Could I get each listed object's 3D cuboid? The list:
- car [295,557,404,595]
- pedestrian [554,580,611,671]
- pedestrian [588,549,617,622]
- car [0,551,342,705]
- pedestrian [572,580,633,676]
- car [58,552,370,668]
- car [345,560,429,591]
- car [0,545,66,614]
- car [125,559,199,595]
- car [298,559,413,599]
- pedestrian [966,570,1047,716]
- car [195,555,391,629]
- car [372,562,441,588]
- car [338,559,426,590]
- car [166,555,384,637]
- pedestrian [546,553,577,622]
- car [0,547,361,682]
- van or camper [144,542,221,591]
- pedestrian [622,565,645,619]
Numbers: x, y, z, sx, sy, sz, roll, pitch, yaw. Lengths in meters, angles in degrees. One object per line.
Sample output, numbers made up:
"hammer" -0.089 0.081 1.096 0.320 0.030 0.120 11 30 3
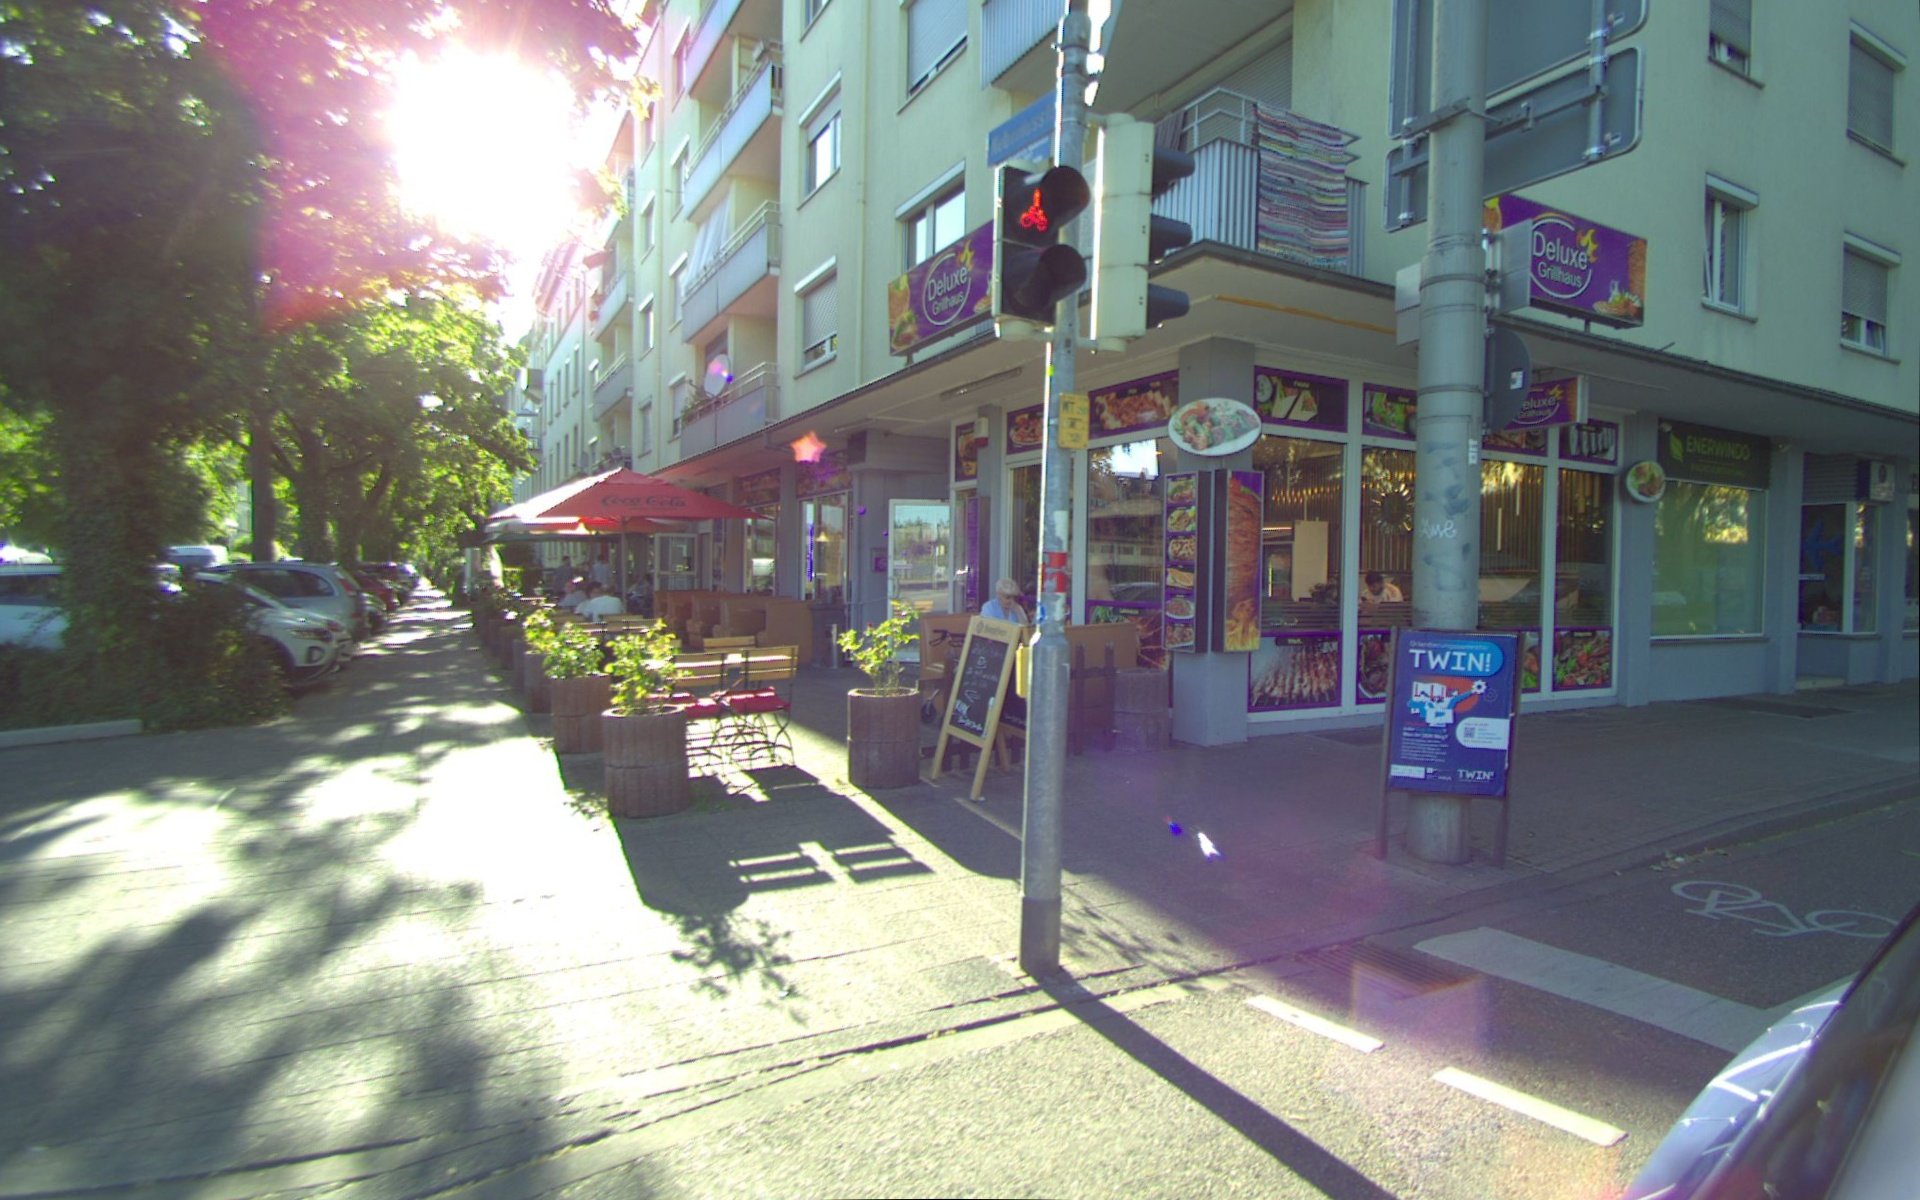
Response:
"car" -25.237 -0.981 41.935 3.795 1.498 1.718 0 2 -32
"pedestrian" -5.362 0.347 14.375 0.647 1.233 0.741 0 1 -29
"pedestrian" -9.110 -0.374 25.789 0.660 1.834 0.540 0 1 -24
"car" -9.536 0.260 11.807 3.956 1.601 1.712 0 2 -32
"pedestrian" -4.799 0.358 13.565 0.647 1.233 0.741 0 1 -29
"car" -11.554 0.104 16.012 3.795 1.638 1.718 0 2 -32
"car" -30.346 -1.287 53.639 3.795 1.609 1.718 0 2 -32
"car" -27.425 -0.620 28.820 1.959 1.838 4.335 0 2 -28
"car" -36.650 -1.082 46.581 1.959 1.549 4.006 0 2 -28
"car" -23.816 -0.829 39.956 3.795 1.498 1.718 0 2 -32
"pedestrian" 0.445 0.395 9.775 0.595 1.358 0.495 0 1 -28
"car" -15.816 -0.204 24.210 3.795 1.638 1.718 0 2 -32
"car" -35.534 -1.628 64.968 3.795 1.609 1.718 0 2 -32
"car" -29.173 -1.271 51.109 3.795 1.498 1.718 0 2 -32
"car" -14.722 -0.104 21.990 3.795 1.638 1.718 0 2 -32
"pedestrian" -10.218 -0.327 25.969 0.708 1.730 0.540 0 1 -24
"car" -10.516 0.144 14.001 3.827 1.638 1.718 0 2 -32
"van or camper" -39.791 -1.695 51.946 2.323 2.366 5.022 0 2 -28
"pedestrian" -8.576 -0.218 26.581 0.559 1.377 0.675 1 1 -17
